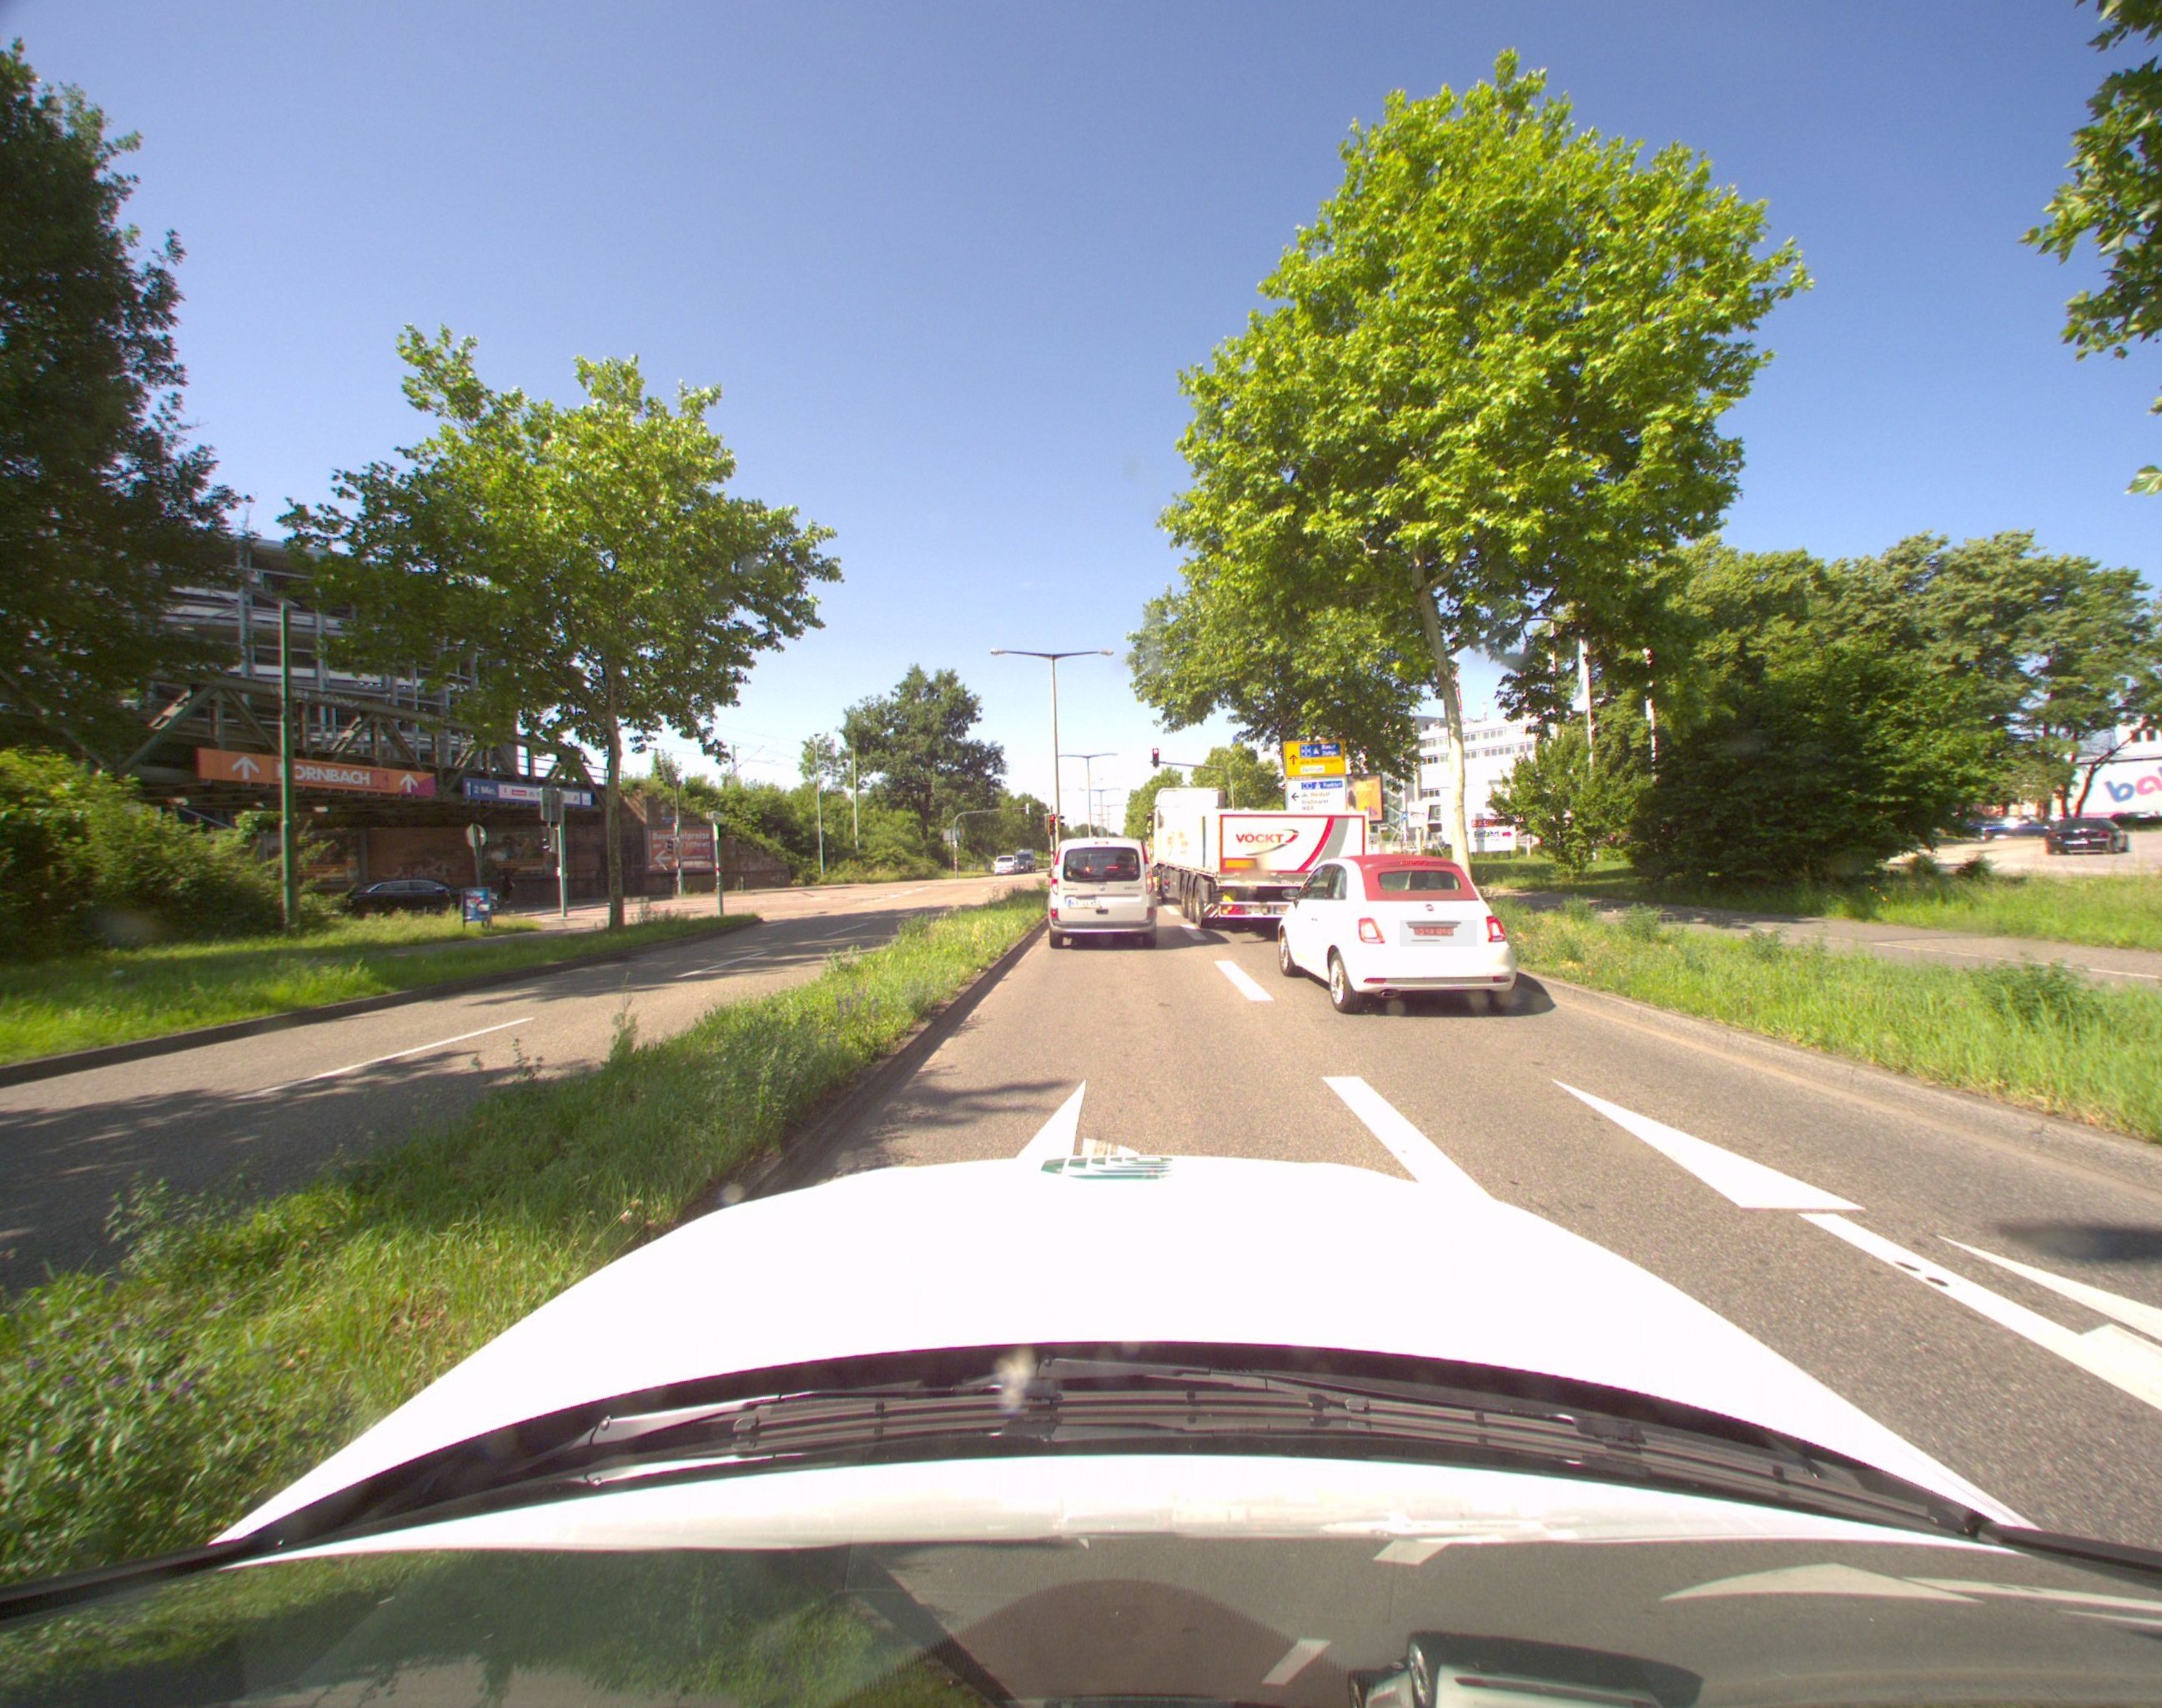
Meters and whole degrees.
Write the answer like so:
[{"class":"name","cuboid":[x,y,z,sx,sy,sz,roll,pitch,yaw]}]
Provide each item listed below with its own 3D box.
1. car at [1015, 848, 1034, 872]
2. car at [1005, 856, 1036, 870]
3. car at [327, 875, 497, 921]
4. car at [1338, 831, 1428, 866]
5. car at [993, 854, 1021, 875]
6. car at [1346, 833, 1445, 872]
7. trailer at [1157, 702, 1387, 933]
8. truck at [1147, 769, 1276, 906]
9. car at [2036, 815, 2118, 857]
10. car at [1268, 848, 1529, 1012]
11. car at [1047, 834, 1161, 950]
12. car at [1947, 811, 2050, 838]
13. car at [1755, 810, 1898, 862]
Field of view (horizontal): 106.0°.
[{"class":"car","cuboid":[-6.514,0.675,93.302,2.055,2.614,5.860,-1,0,-4]},{"class":"car","cuboid":[-6.424,0.947,85.938,1.920,1.409,4.192,-1,0,-25]},{"class":"car","cuboid":[-26.337,1.696,32.324,5.075,1.596,1.510,-1,-1,-36]},{"class":"car","cuboid":[15.175,-0.272,41.113,3.965,1.662,1.726,-1,0,7]},{"class":"car","cuboid":[-7.061,0.993,77.890,1.987,1.891,4.988,-4,0,1]},{"class":"car","cuboid":[14.381,-0.063,37.432,3.965,1.662,1.726,-1,0,7]},{"class":"trailer","cuboid":[3.684,-0.567,19.435,3.004,3.740,12.246,-1,0,2]},{"class":"truck","cuboid":[3.911,-0.435,26.262,3.061,3.758,7.477,-1,0,1]},{"class":"car","cuboid":[39.123,-0.669,32.067,3.746,1.515,1.755,0,-1,-43]},{"class":"car","cuboid":[3.217,0.686,8.983,1.654,1.436,3.523,-1,0,3]},{"class":"car","cuboid":[0.412,0.599,14.597,1.743,1.772,3.950,-1,0,1]},{"class":"car","cuboid":[56.886,-1.805,50.566,1.727,1.486,3.961,-1,0,-30]},{"class":"car","cuboid":[26.905,-0.594,29.448,1.778,1.716,3.703,0,-1,-45]}]
